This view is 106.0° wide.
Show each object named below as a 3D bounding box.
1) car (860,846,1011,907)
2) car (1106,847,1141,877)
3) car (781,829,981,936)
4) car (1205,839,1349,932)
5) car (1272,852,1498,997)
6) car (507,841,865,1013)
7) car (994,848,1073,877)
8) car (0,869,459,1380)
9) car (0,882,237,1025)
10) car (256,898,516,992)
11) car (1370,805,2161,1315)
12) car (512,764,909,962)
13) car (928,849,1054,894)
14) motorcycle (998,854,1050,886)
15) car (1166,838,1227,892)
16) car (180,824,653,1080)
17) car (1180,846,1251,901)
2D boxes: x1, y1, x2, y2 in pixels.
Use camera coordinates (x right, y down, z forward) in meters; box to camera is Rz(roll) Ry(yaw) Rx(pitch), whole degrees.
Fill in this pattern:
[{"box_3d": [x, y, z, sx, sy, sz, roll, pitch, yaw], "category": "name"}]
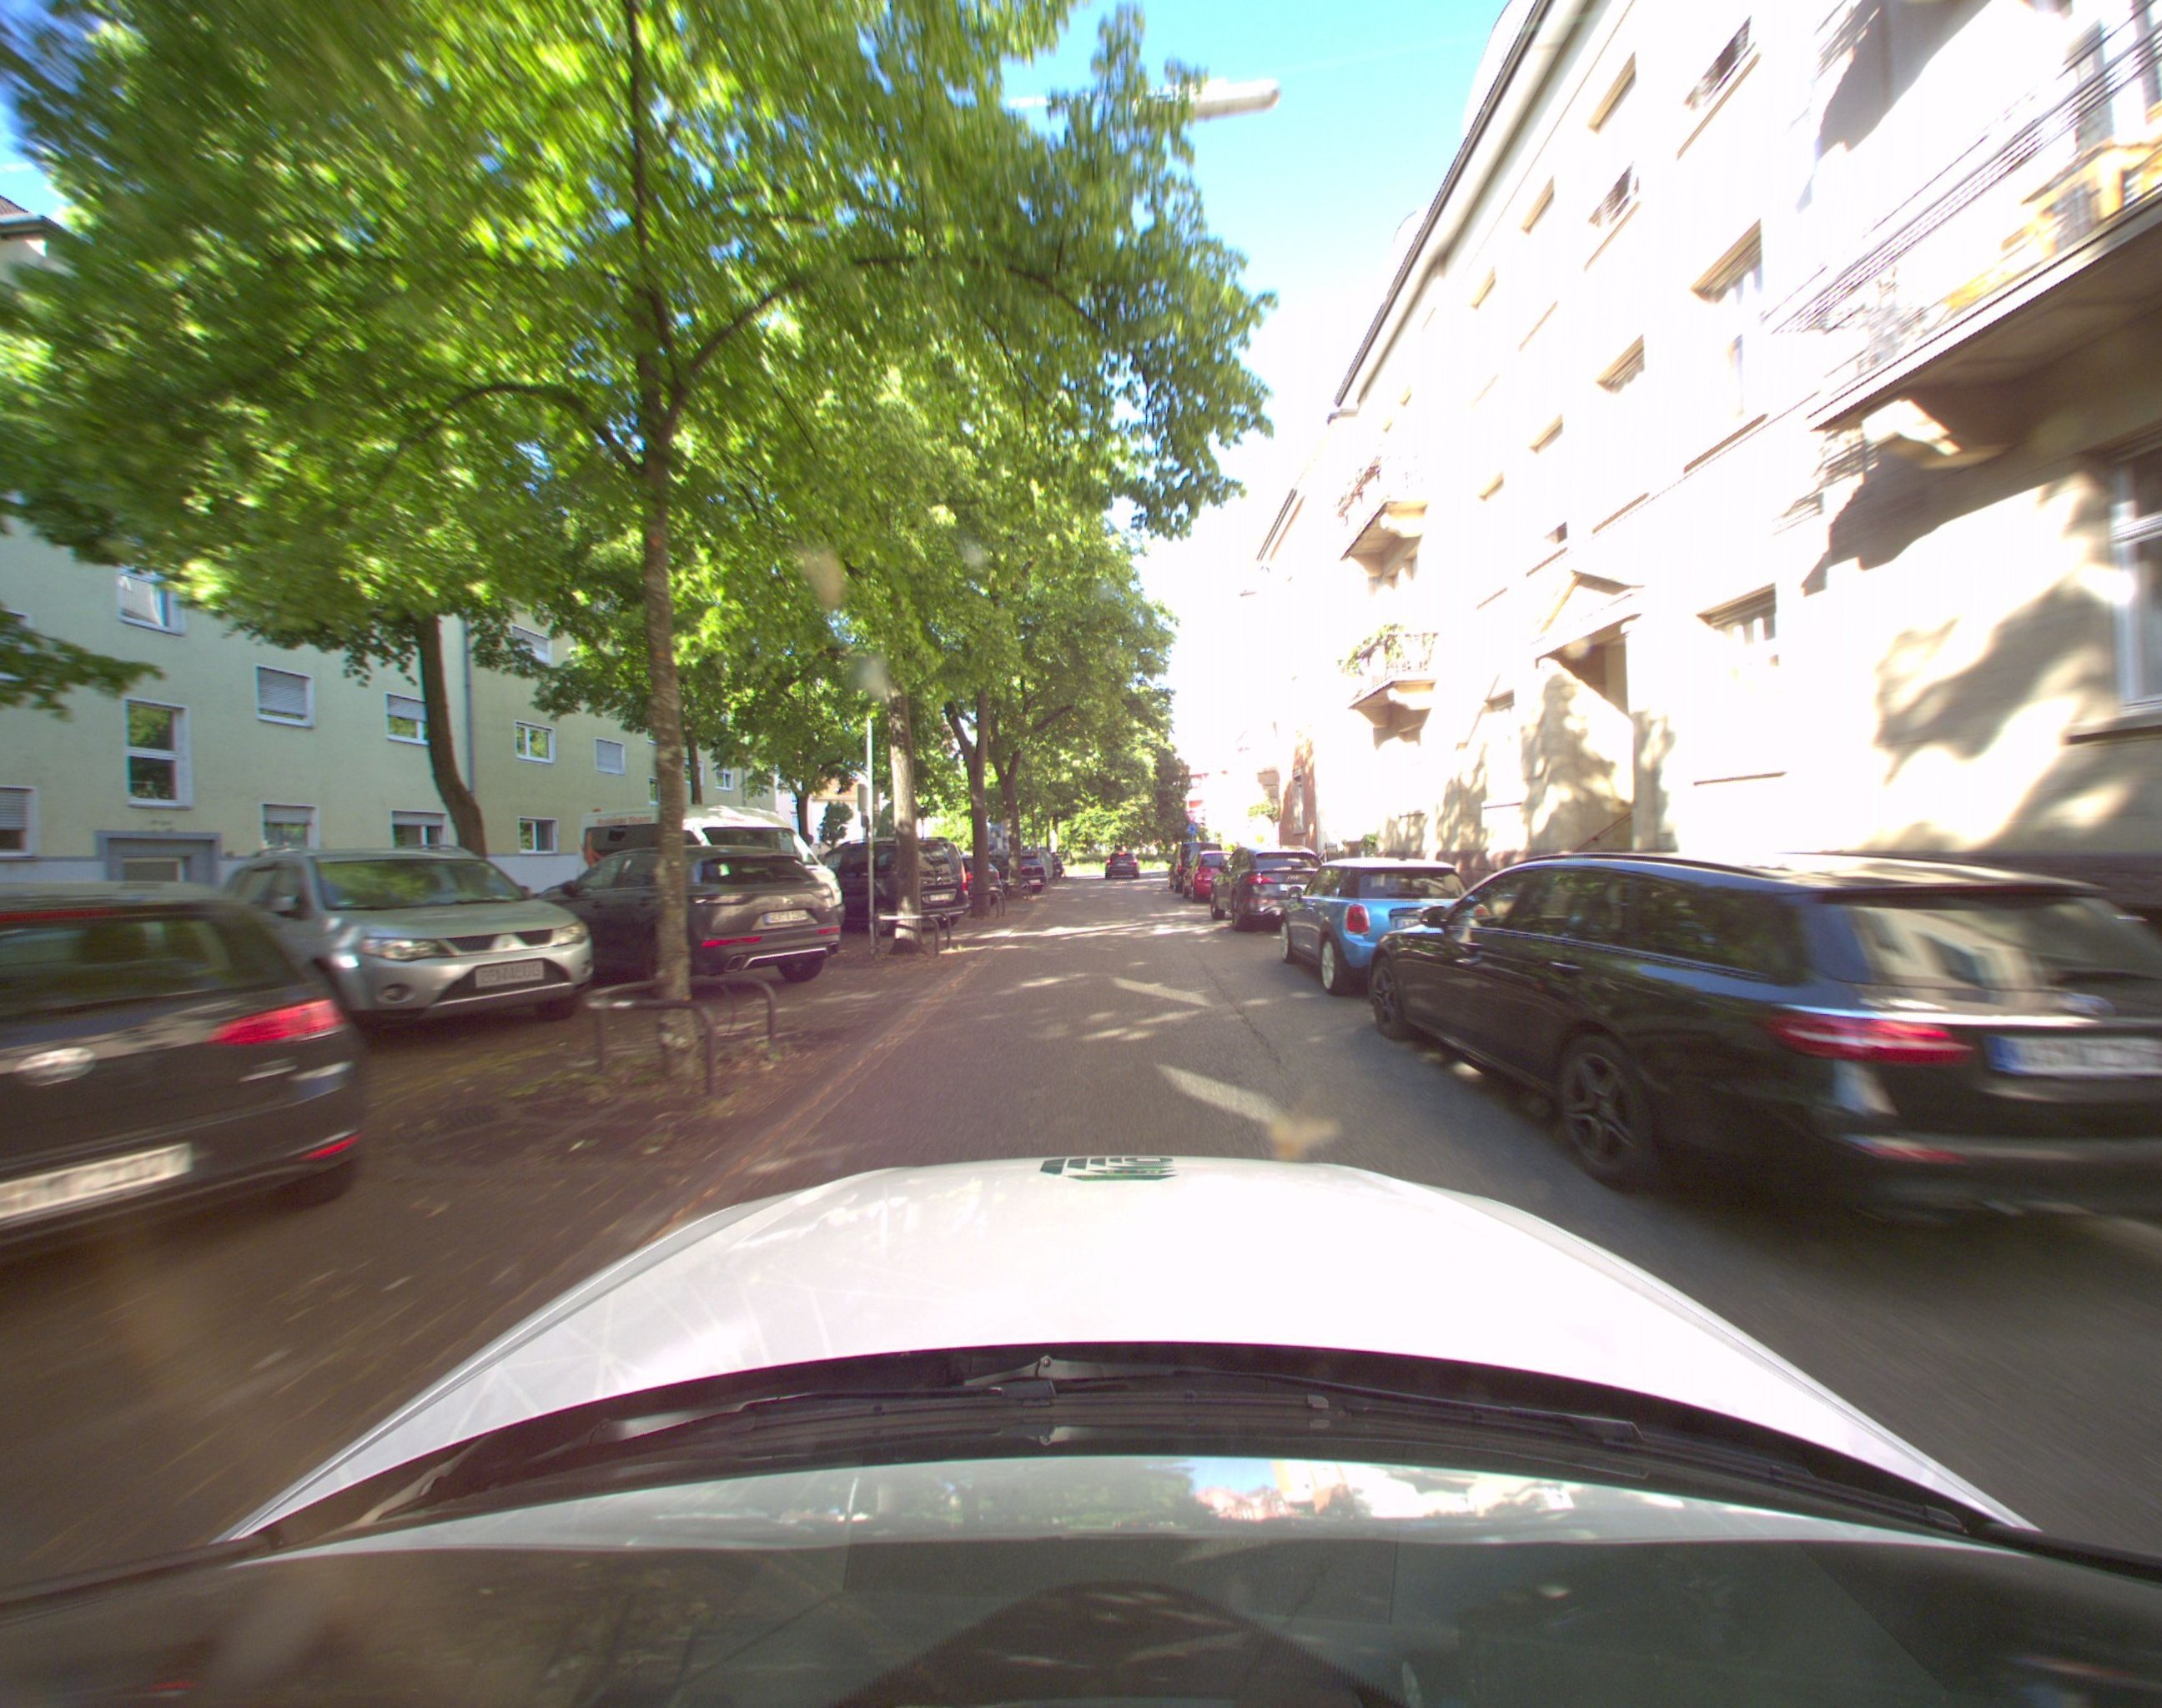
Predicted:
[{"box_3d": [-3.989, 0.617, 22.447, 3.699, 1.582, 1.642, -1, -1, 14], "category": "car"}, {"box_3d": [2.332, 0.399, 44.208, 1.707, 1.483, 4.148, -3, 0, 3], "category": "car"}, {"box_3d": [-4.065, 0.511, 16.362, 3.801, 1.888, 1.856, -1, 1, 37], "category": "car"}, {"box_3d": [3.845, 0.544, 16.795, 1.858, 1.643, 4.490, 0, 0, 0], "category": "car"}, {"box_3d": [3.447, 0.694, 9.913, 1.583, 1.415, 3.635, 0, 0, 3], "category": "car"}, {"box_3d": [-4.698, 0.690, 9.538, 4.221, 1.641, 1.665, 0, 0, 30], "category": "car"}, {"box_3d": [-2.534, 0.459, 42.908, 4.089, 1.481, 1.787, -2, -1, 42], "category": "car"}, {"box_3d": [-4.803, 0.853, 3.696, 4.056, 1.481, 1.743, -1, 0, 31], "category": "car"}, {"box_3d": [-14.969, 1.400, 11.246, 1.735, 1.722, 4.559, -3, 1, 1], "category": "car"}, {"box_3d": [-15.176, 1.907, 18.199, 1.765, 1.517, 4.593, 0, 1, 2], "category": "car"}, {"box_3d": [3.250, 0.623, 4.714, 1.797, 1.563, 4.325, -3, 0, 3], "category": "car"}, {"box_3d": [-6.419, 0.249, 14.227, 6.017, 2.623, 2.466, -6, -2, 17], "category": "car"}, {"box_3d": [-3.090, 0.606, 28.471, 4.068, 1.466, 1.870, -1, -1, 5], "category": "car"}, {"box_3d": [-2.223, 0.640, 32.055, 1.928, 1.171, 0.519, -2, 0, 7], "category": "motorcycle"}, {"box_3d": [4.275, 0.364, 30.708, 1.794, 1.870, 4.275, 1, 0, 2], "category": "car"}, {"box_3d": [-6.231, 0.731, 7.550, 4.338, 1.777, 1.911, -2, -1, 29], "category": "car"}, {"box_3d": [4.115, 0.550, 25.460, 1.639, 1.537, 4.002, 1, 0, 2], "category": "car"}]
